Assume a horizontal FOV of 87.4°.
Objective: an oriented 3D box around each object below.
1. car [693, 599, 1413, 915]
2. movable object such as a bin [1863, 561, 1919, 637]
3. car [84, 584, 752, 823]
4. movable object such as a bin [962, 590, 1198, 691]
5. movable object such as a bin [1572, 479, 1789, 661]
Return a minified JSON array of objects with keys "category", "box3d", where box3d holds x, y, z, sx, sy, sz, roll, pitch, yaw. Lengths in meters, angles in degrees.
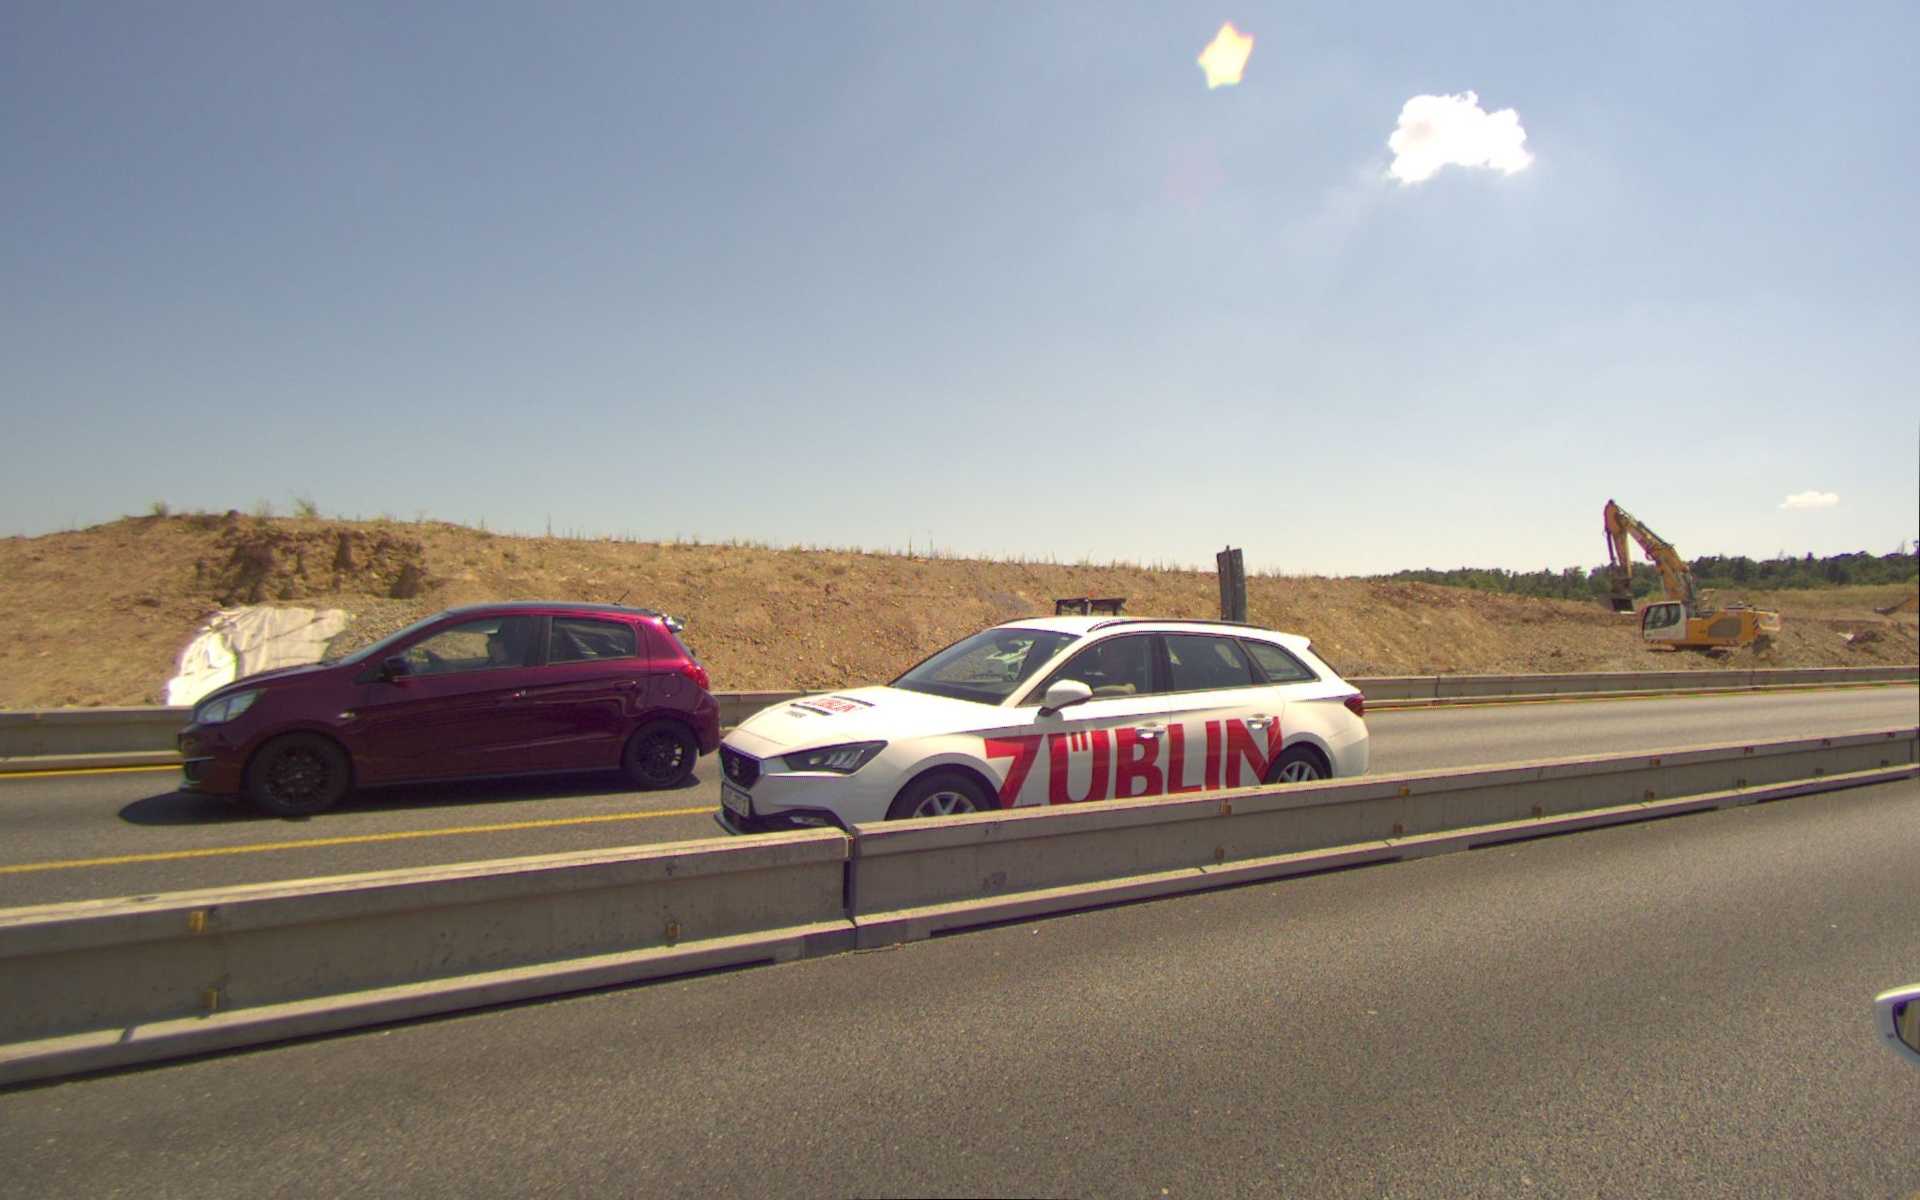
[{"category":"car","box3d":[0.783,0.783,6.577,4.618,1.461,1.670,1,-1,-31]},{"category":"movable object such as a bin","box3d":[96.834,-0.135,93.708,3.574,7.327,18.619,1,-1,-30]},{"category":"car","box3d":[-3.920,0.683,7.898,4.176,1.461,1.645,1,-1,-29]},{"category":"movable object such as a bin","box3d":[3.366,1.082,27.190,6.664,2.493,1.694,1,-1,-30]},{"category":"movable object such as a bin","box3d":[33.593,-1.200,47.199,3.402,7.816,7.608,1,-1,-27]}]
